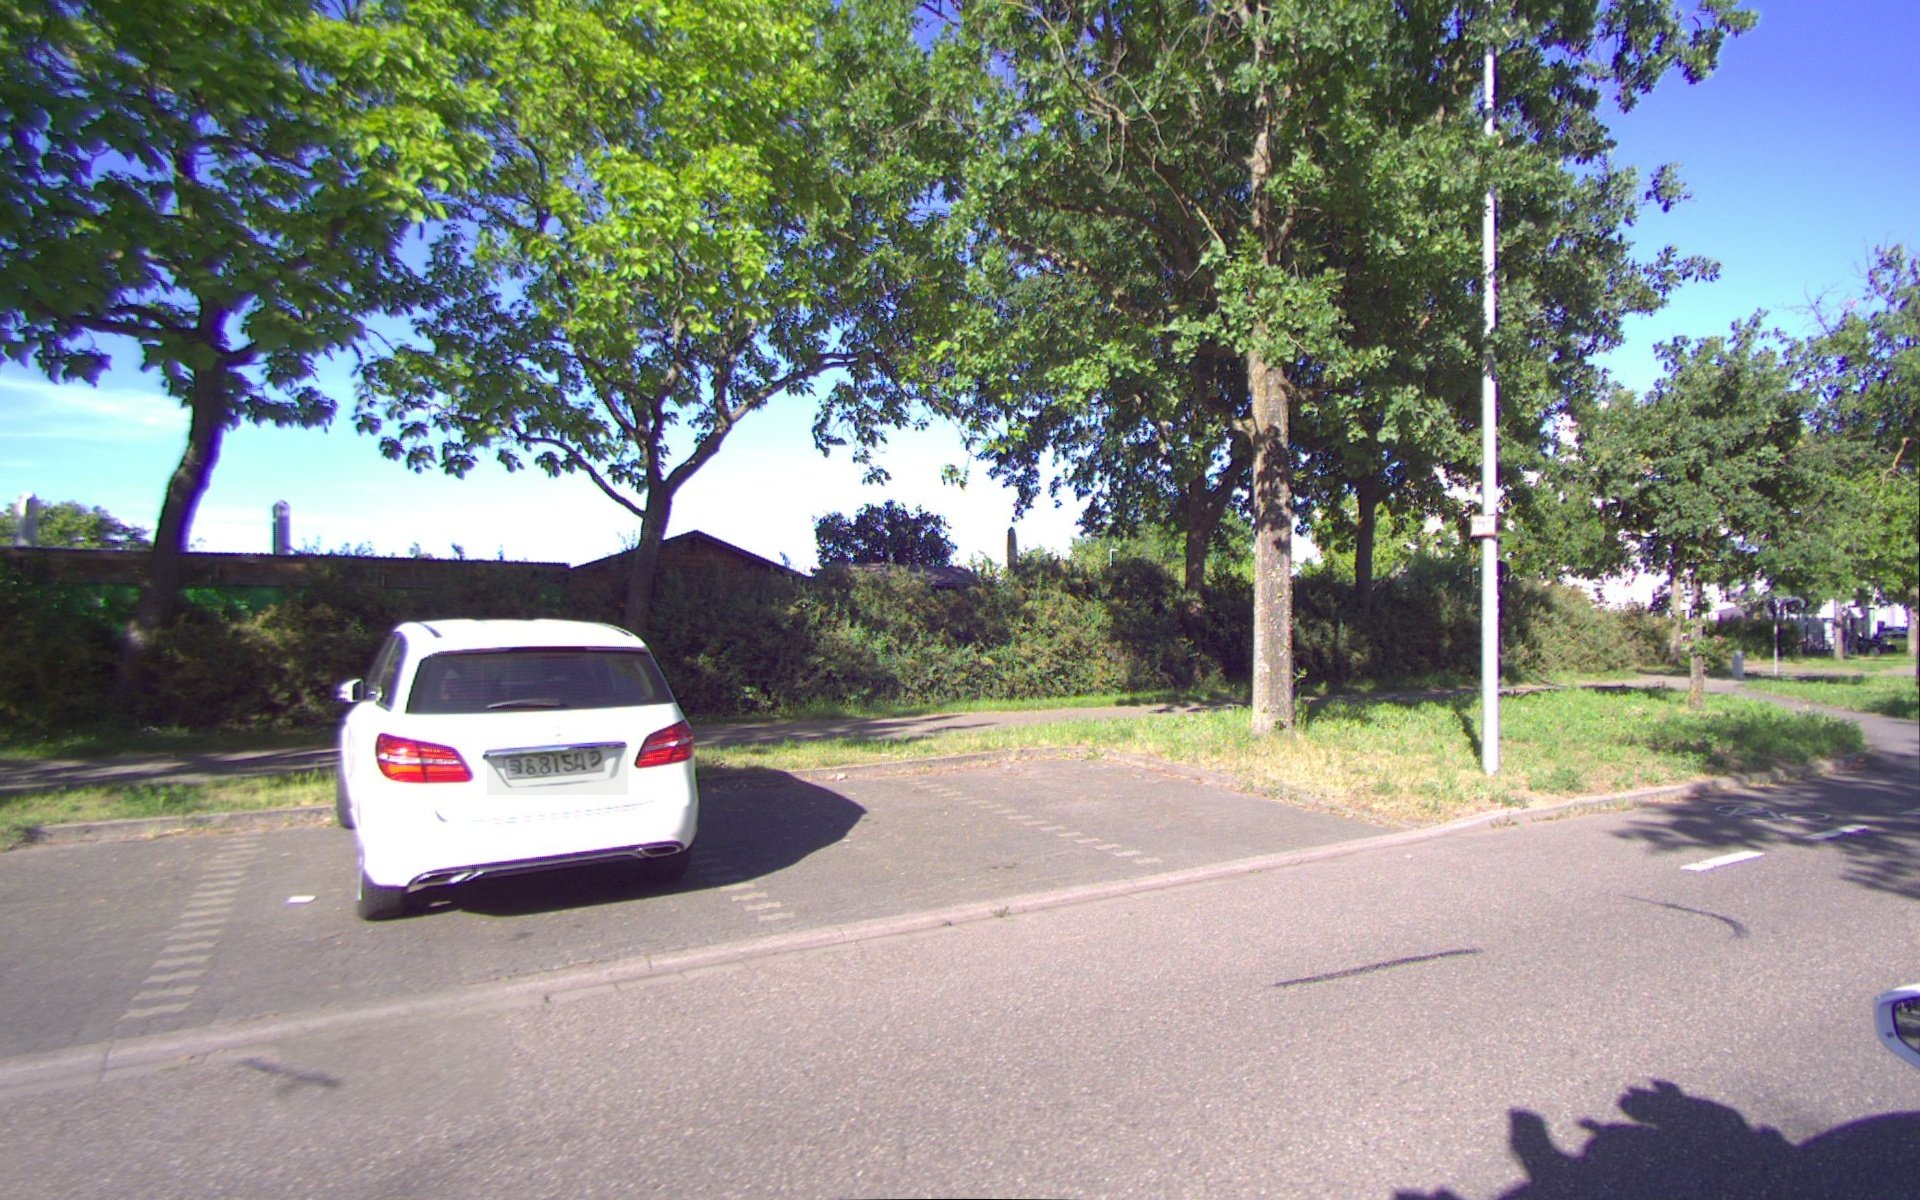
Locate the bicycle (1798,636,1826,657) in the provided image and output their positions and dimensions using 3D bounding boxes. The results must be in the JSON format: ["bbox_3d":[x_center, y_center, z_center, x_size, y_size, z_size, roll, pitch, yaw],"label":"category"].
[{"bbox_3d":[45.893,2.500,54.111,1.871,1.102,0.635,1,-2,-33],"label":"bicycle"}]

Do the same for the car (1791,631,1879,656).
[{"bbox_3d":[55.918,2.757,64.300,3.928,1.531,1.798,-1,-1,29],"label":"car"}]

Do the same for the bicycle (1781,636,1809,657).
[{"bbox_3d":[44.565,2.477,53.615,1.871,1.102,0.635,1,-2,-33],"label":"bicycle"}]

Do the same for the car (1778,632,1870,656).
[{"bbox_3d":[53.592,2.699,62.400,3.919,1.467,1.802,-1,-2,15],"label":"car"}]

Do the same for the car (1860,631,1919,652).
[{"bbox_3d":[64.148,2.824,68.302,3.874,1.420,2.001,-1,-2,16],"label":"car"}]

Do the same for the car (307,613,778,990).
[{"bbox_3d":[-3.172,0.908,6.889,2.168,1.579,4.598,1,0,-33],"label":"car"}]
